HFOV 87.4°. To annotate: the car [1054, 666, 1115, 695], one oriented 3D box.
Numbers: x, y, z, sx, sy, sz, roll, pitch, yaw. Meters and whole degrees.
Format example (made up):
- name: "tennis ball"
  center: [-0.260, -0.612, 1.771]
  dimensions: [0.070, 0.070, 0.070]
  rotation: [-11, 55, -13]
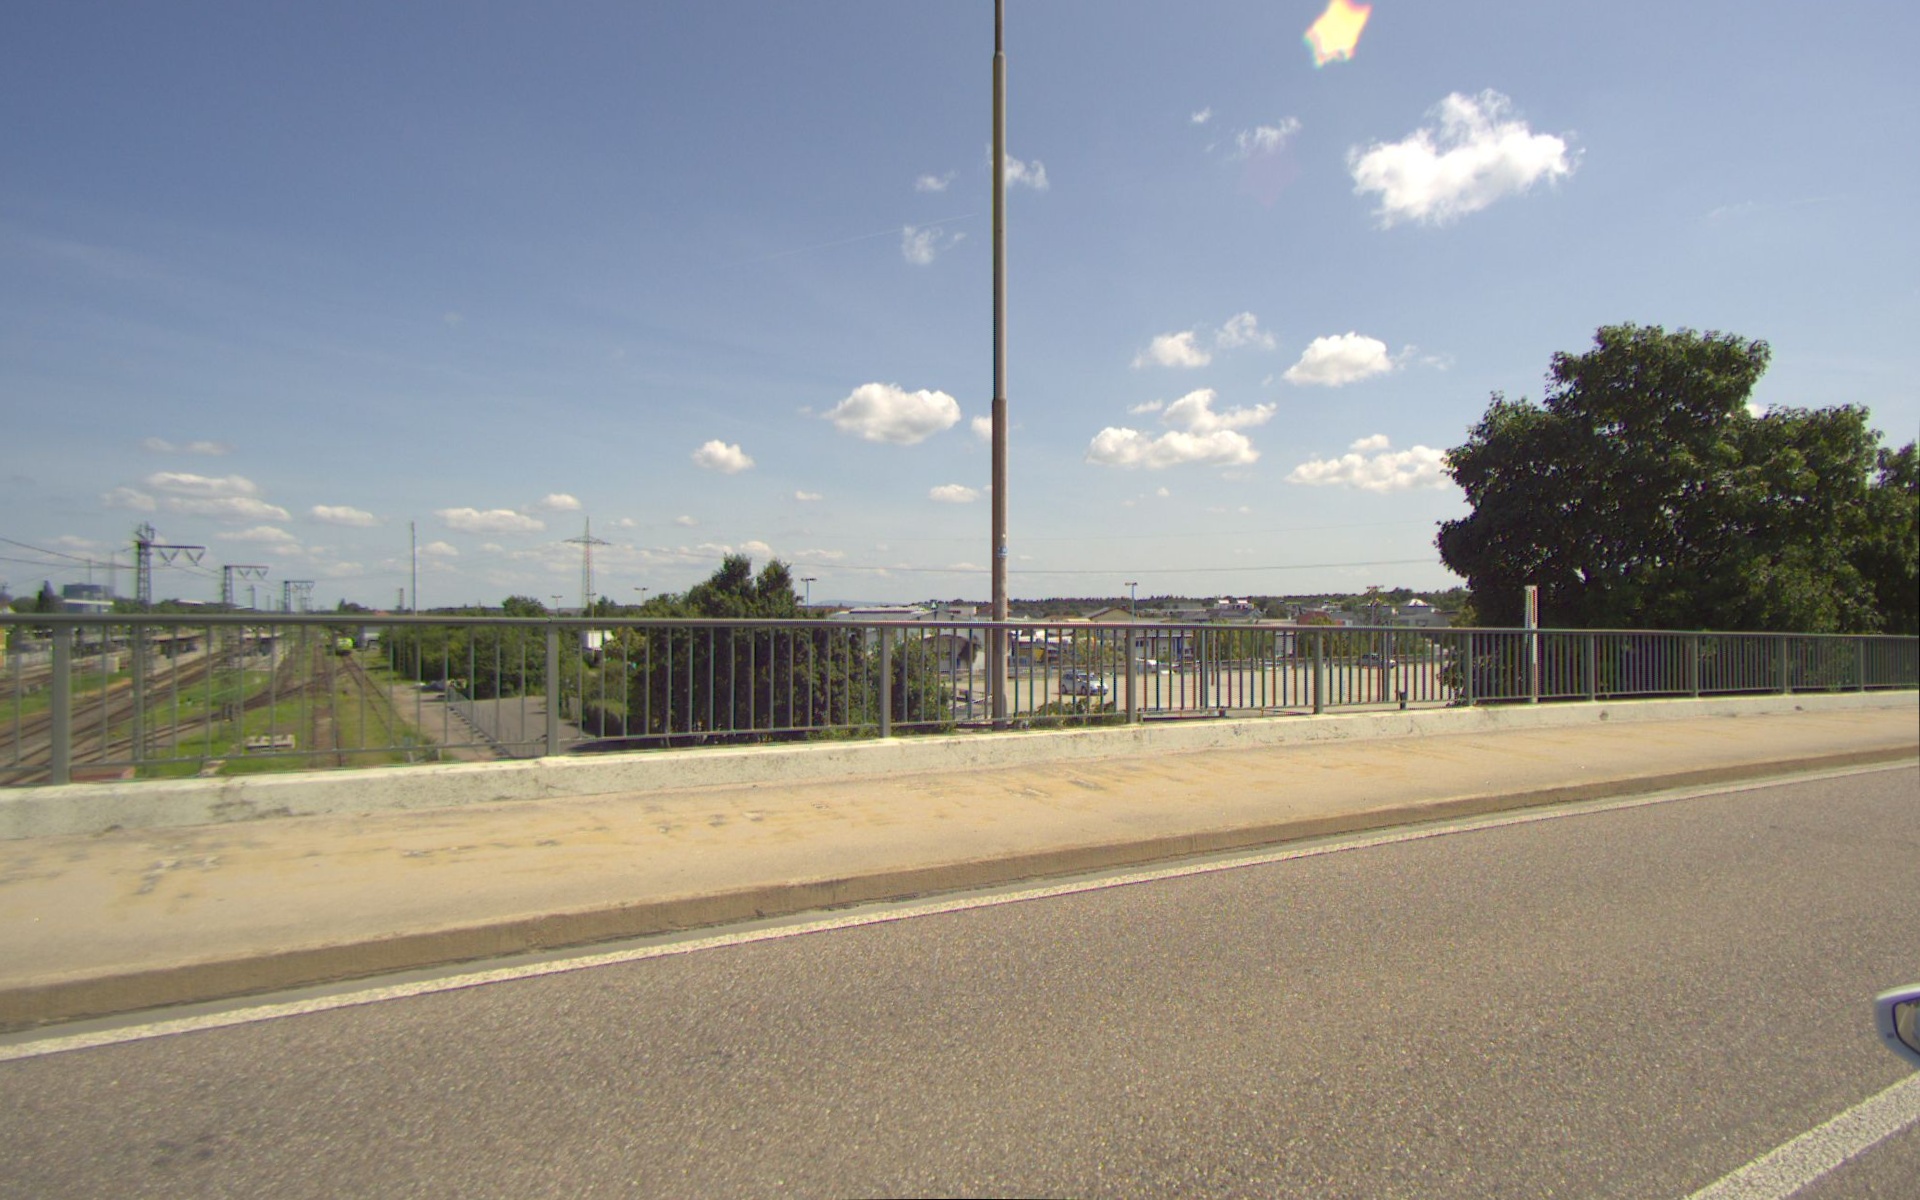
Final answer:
- name: "car"
  center: [8.410, 5.452, 68.286]
  dimensions: [1.891, 1.770, 3.957]
  rotation: [2, -3, -38]
